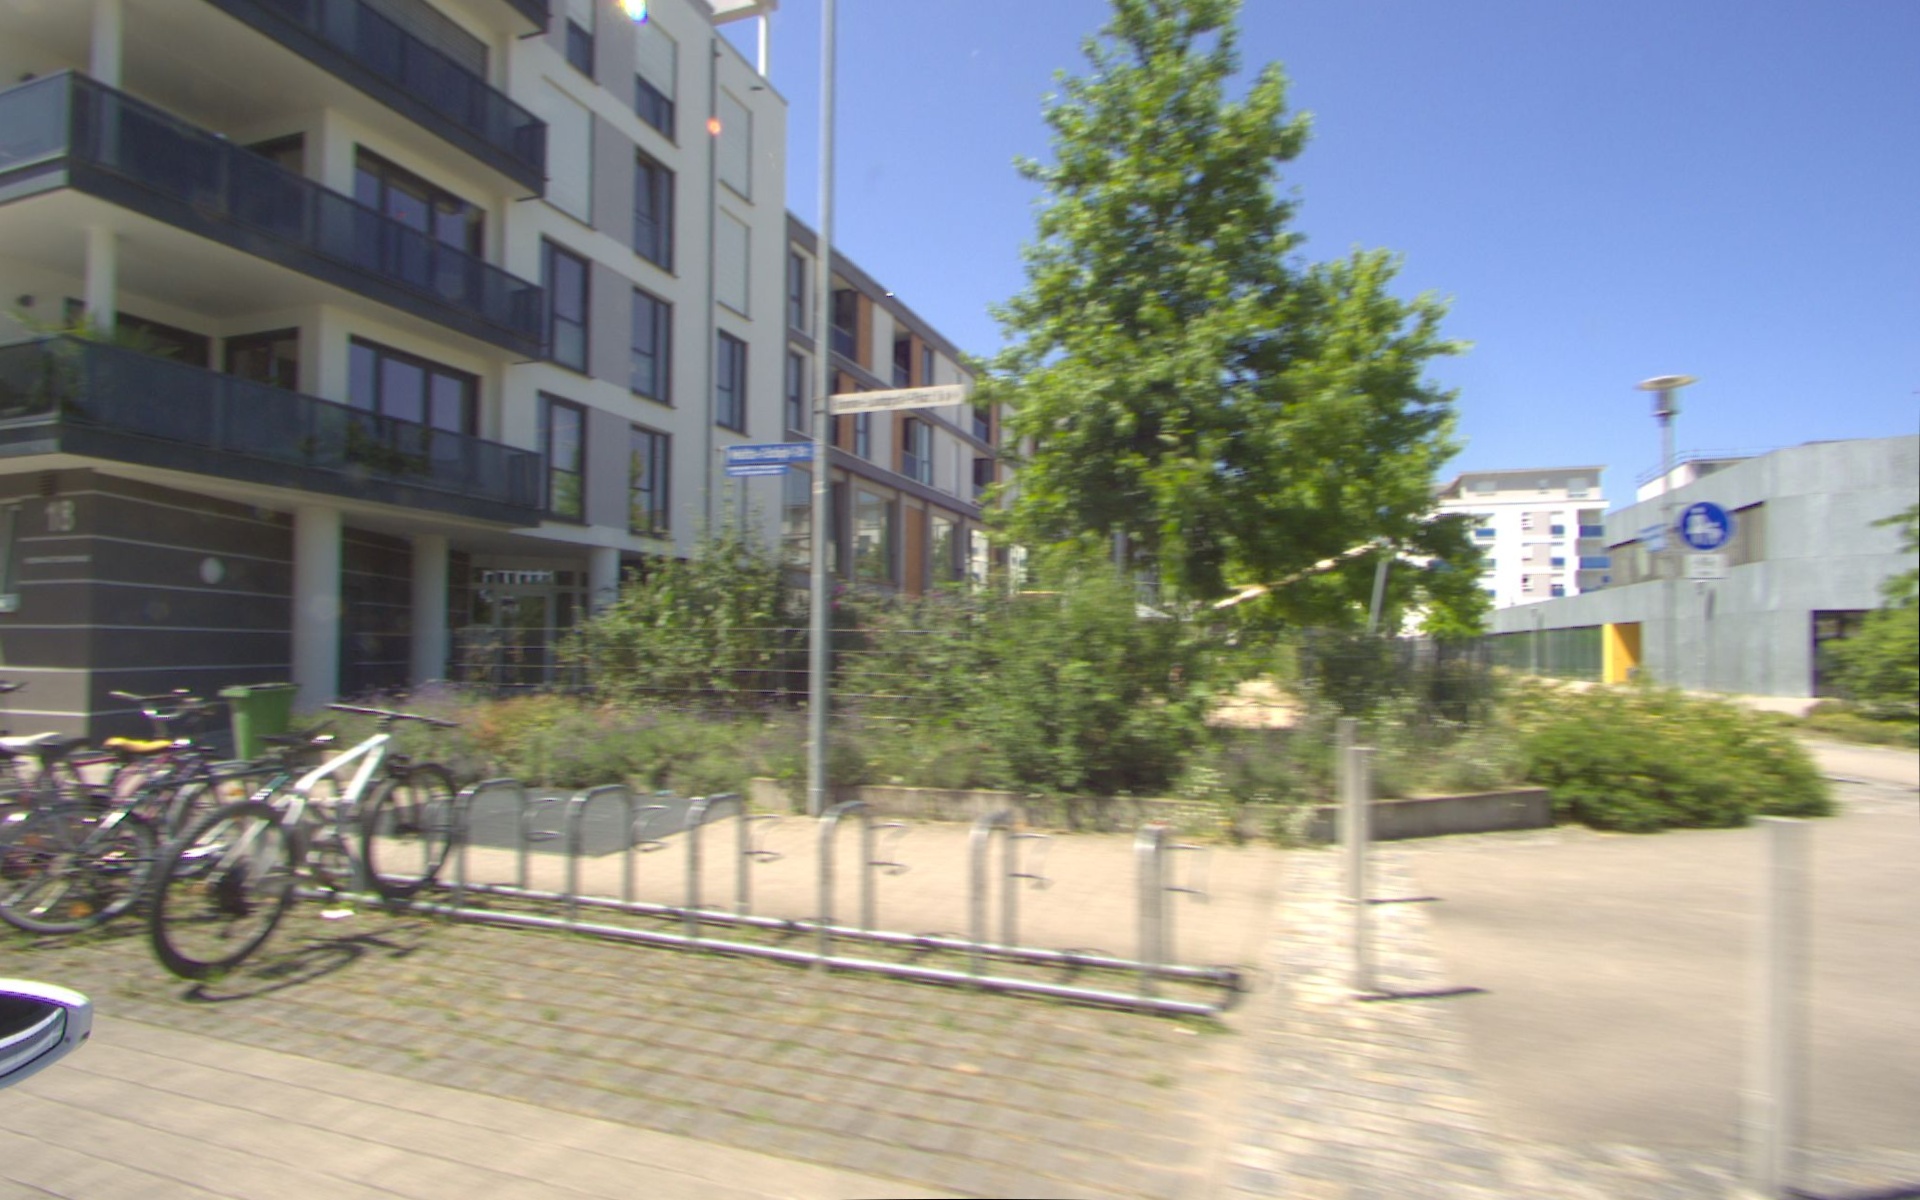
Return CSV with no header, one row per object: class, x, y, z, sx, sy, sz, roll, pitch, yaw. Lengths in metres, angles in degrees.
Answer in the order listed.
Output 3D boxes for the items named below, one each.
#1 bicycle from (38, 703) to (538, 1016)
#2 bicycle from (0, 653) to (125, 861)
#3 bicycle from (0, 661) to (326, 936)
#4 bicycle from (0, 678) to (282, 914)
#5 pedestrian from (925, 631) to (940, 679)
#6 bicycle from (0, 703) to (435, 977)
bicycle,-3.025,1.091,4.855,0.858,1.016,2.033,0,-1,9
bicycle,-6.363,0.991,6.119,0.810,1.239,1.922,1,0,5
bicycle,-4.497,0.974,5.385,0.546,1.238,1.852,0,-2,22
bicycle,-4.845,1.027,5.512,0.468,1.124,1.885,0,-2,22
pedestrian,-0.991,1.978,36.073,0.389,1.711,0.463,1,-2,13
bicycle,-3.894,1.110,5.217,0.932,0.987,1.849,-1,-1,33
